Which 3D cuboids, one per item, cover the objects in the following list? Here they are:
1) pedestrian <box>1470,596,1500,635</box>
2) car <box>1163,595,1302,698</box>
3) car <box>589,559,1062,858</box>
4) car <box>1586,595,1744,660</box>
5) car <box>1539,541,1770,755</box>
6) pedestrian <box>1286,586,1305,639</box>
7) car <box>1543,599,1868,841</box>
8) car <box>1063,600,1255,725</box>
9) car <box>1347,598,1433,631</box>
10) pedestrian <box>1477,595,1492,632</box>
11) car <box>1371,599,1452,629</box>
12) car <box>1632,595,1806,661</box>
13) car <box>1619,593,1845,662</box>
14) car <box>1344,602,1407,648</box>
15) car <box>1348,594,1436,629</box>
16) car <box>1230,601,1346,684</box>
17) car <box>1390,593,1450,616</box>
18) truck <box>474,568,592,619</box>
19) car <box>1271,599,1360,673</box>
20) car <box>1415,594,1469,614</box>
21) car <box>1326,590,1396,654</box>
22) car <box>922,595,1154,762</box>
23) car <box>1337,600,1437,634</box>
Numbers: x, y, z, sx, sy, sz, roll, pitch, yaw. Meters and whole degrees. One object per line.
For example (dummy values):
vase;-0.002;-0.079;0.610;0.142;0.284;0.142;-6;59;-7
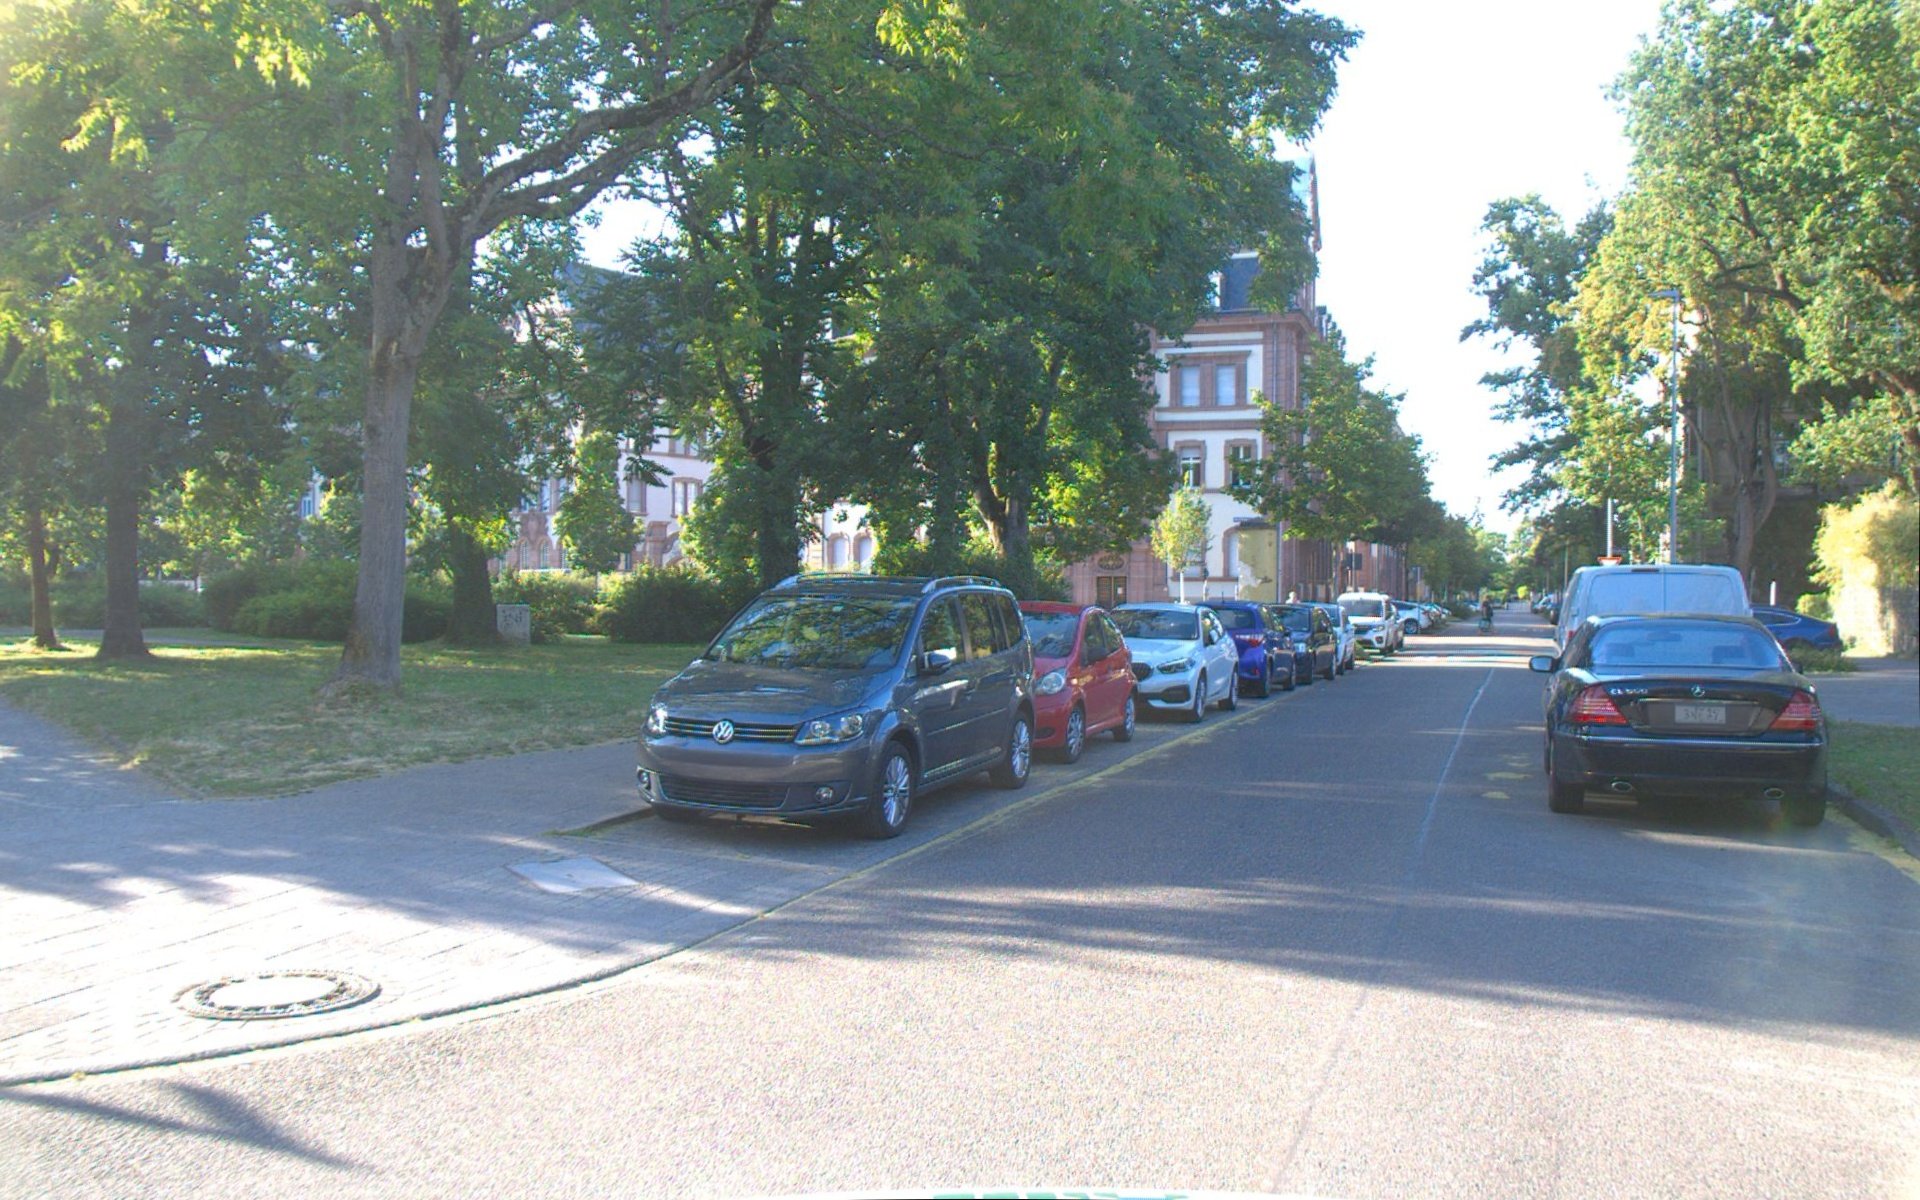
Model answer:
pedestrian;25.619;0.736;80.672;1.042;1.890;0.999;1;0;-13
car;4.622;0.721;27.632;1.604;1.522;3.706;2;1;20
car;-0.735;0.633;12.066;1.764;1.705;4.321;2;1;20
car;18.140;0.692;42.694;3.418;1.612;1.763;0;0;9
car;7.605;0.451;18.570;1.911;2.049;5.156;0;0;17
pedestrian;11.571;0.424;57.038;0.586;1.815;0.947;0;0;16
car;5.548;0.744;12.872;1.728;1.494;4.868;0;0;17
car;2.744;0.752;22.022;1.655;1.431;3.975;2;1;20
car;23.103;0.774;88.778;4.388;1.747;1.843;0;0;17
pedestrian;28.650;0.731;90.304;0.704;1.996;0.787;0;-2;24
car;25.693;0.783;94.131;4.388;1.636;1.843;1;0;17
car;18.355;0.658;40.167;3.603;1.550;1.793;0;0;16
car;17.524;0.652;37.800;4.494;1.439;1.923;-2;-2;20
car;14.622;0.854;58.031;1.744;1.531;4.554;1;0;19
car;22.657;0.595;86.640;4.388;1.747;1.843;0;0;17
car;6.476;0.779;32.384;1.520;1.520;3.942;0;0;22
car;35.334;0.344;127.034;4.388;1.636;1.843;1;0;17
truck;-26.591;-0.438;102.775;7.845;3.082;2.604;1;0;35
car;8.025;0.762;37.161;1.559;1.553;3.867;0;0;18
car;40.856;0.340;140.164;4.388;1.636;1.843;1;0;17
car;12.294;0.639;50.543;1.743;1.873;4.555;0;0;18
car;0.884;0.705;16.711;1.359;1.448;3.427;2;1;20
car;21.249;0.839;82.324;4.740;1.622;1.843;0;0;17
